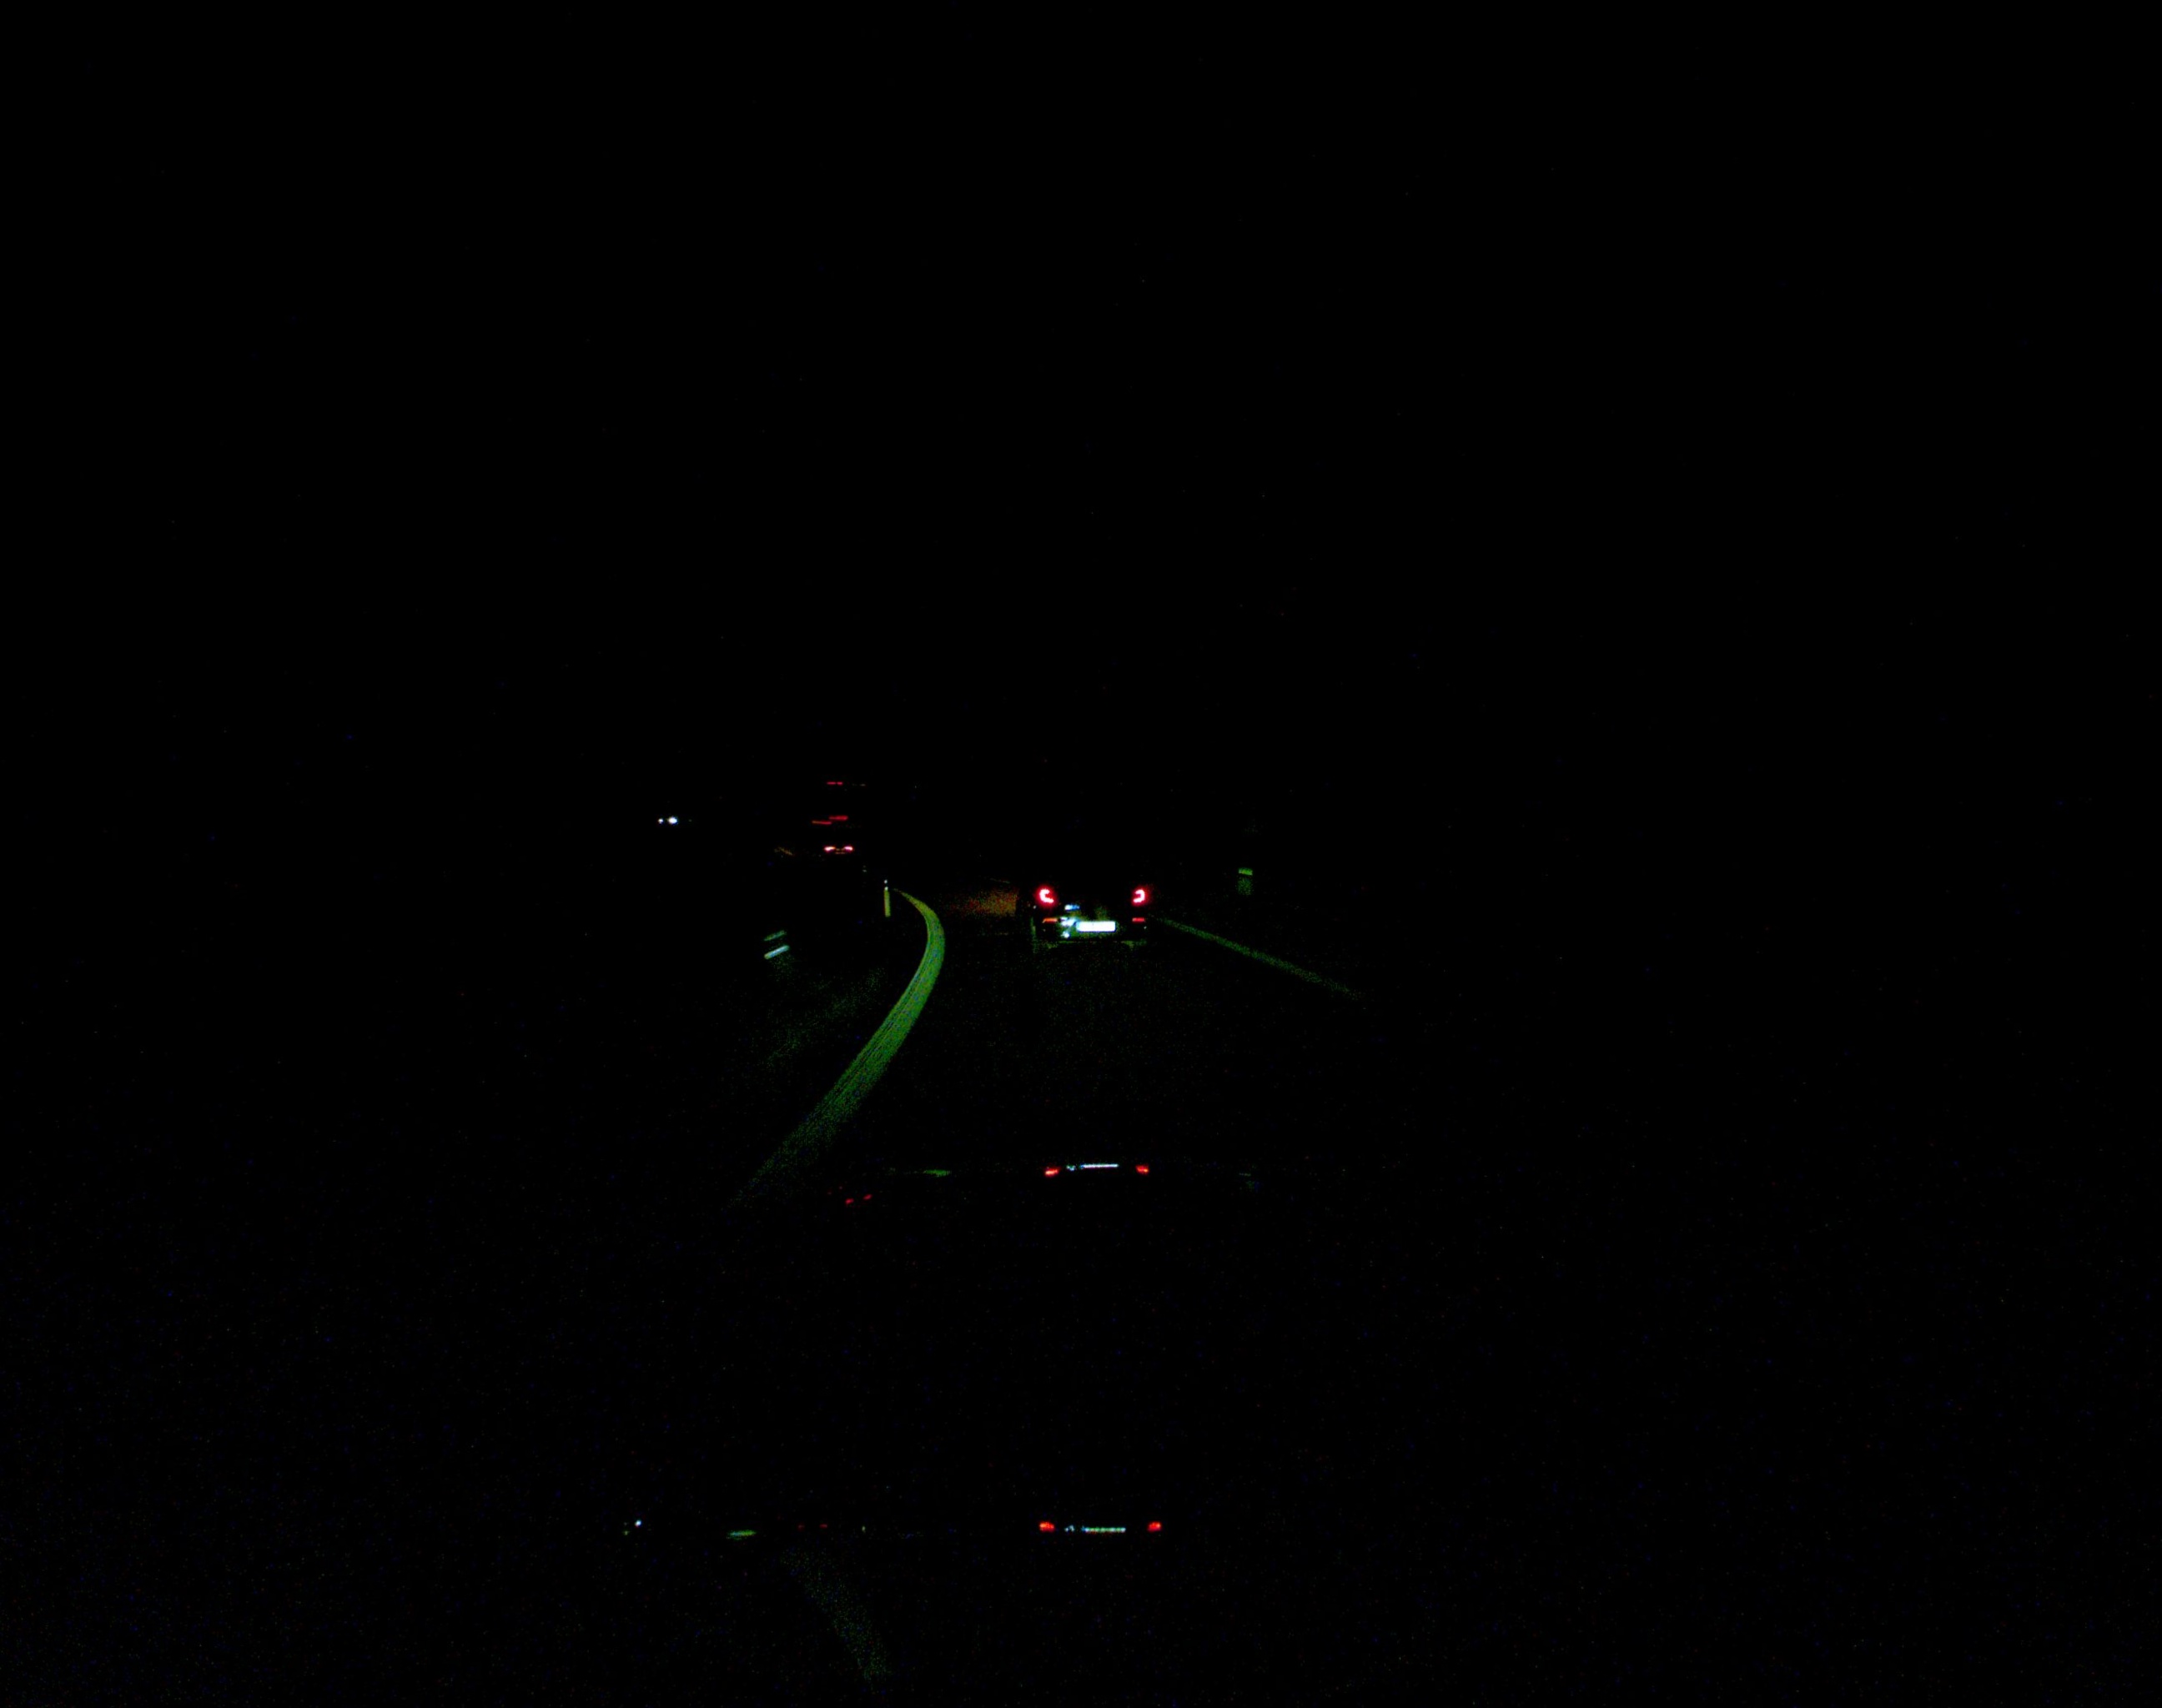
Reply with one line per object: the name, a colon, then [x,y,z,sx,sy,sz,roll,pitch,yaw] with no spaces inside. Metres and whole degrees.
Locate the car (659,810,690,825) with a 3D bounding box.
car: [-50.814,-4.574,101.957,1.805,1.886,4.000,0,3,0]

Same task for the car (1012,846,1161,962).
car: [-0.085,0.635,12.849,1.691,1.477,3.988,-2,1,-9]

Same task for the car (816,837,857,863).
car: [-16.344,-0.289,54.235,1.961,1.537,4.206,-2,2,-26]
